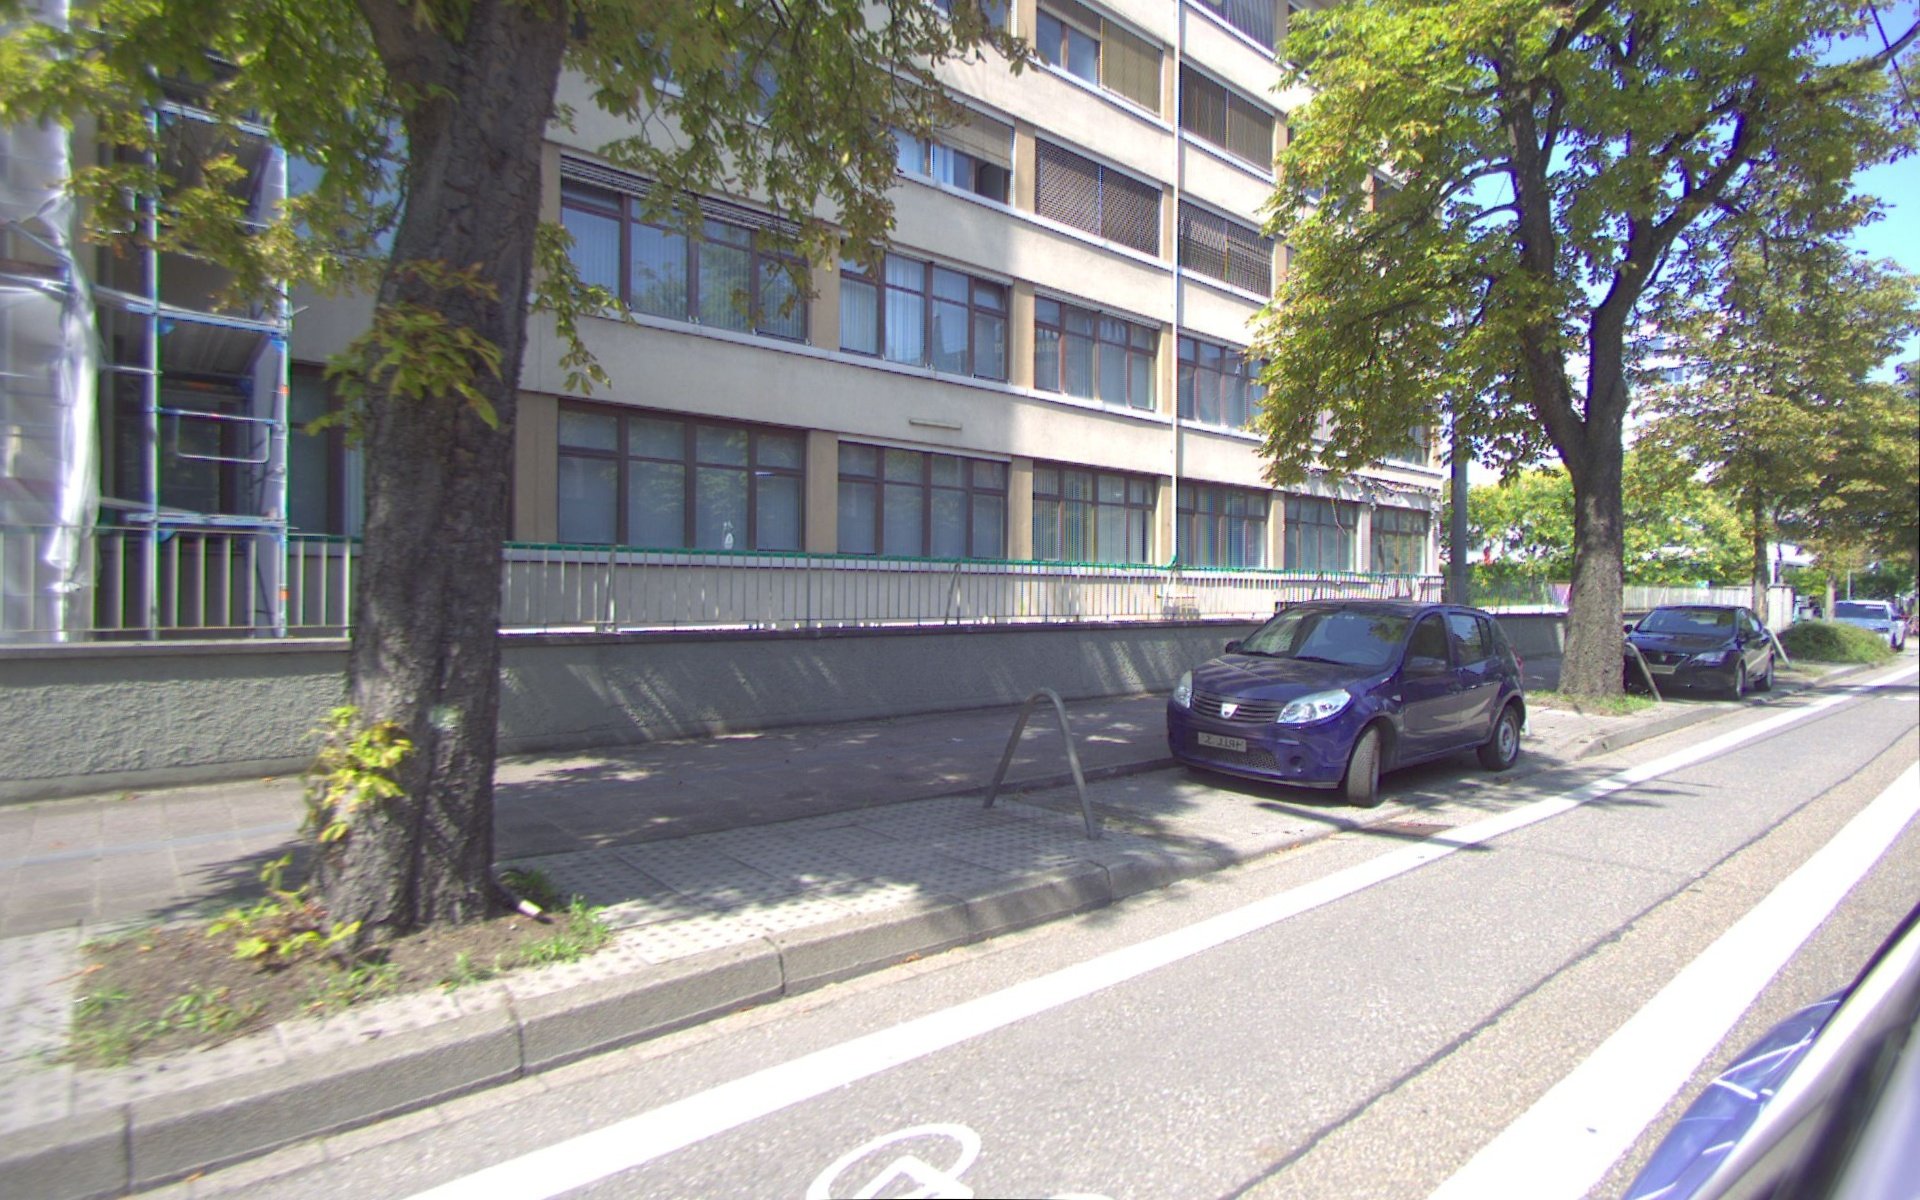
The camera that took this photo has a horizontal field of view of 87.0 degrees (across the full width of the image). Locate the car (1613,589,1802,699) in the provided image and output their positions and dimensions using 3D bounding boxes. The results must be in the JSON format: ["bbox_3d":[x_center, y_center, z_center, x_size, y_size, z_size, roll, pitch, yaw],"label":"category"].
[{"bbox_3d":[12.181,0.609,16.404,3.925,1.491,1.641,-1,3,-42],"label":"car"}]

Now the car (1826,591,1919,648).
[{"bbox_3d":[25.981,0.505,28.627,3.809,1.492,1.642,0,1,-40],"label":"car"}]

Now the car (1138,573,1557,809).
[{"bbox_3d":[3.519,0.621,8.845,4.010,1.589,1.645,1,2,-40],"label":"car"}]
